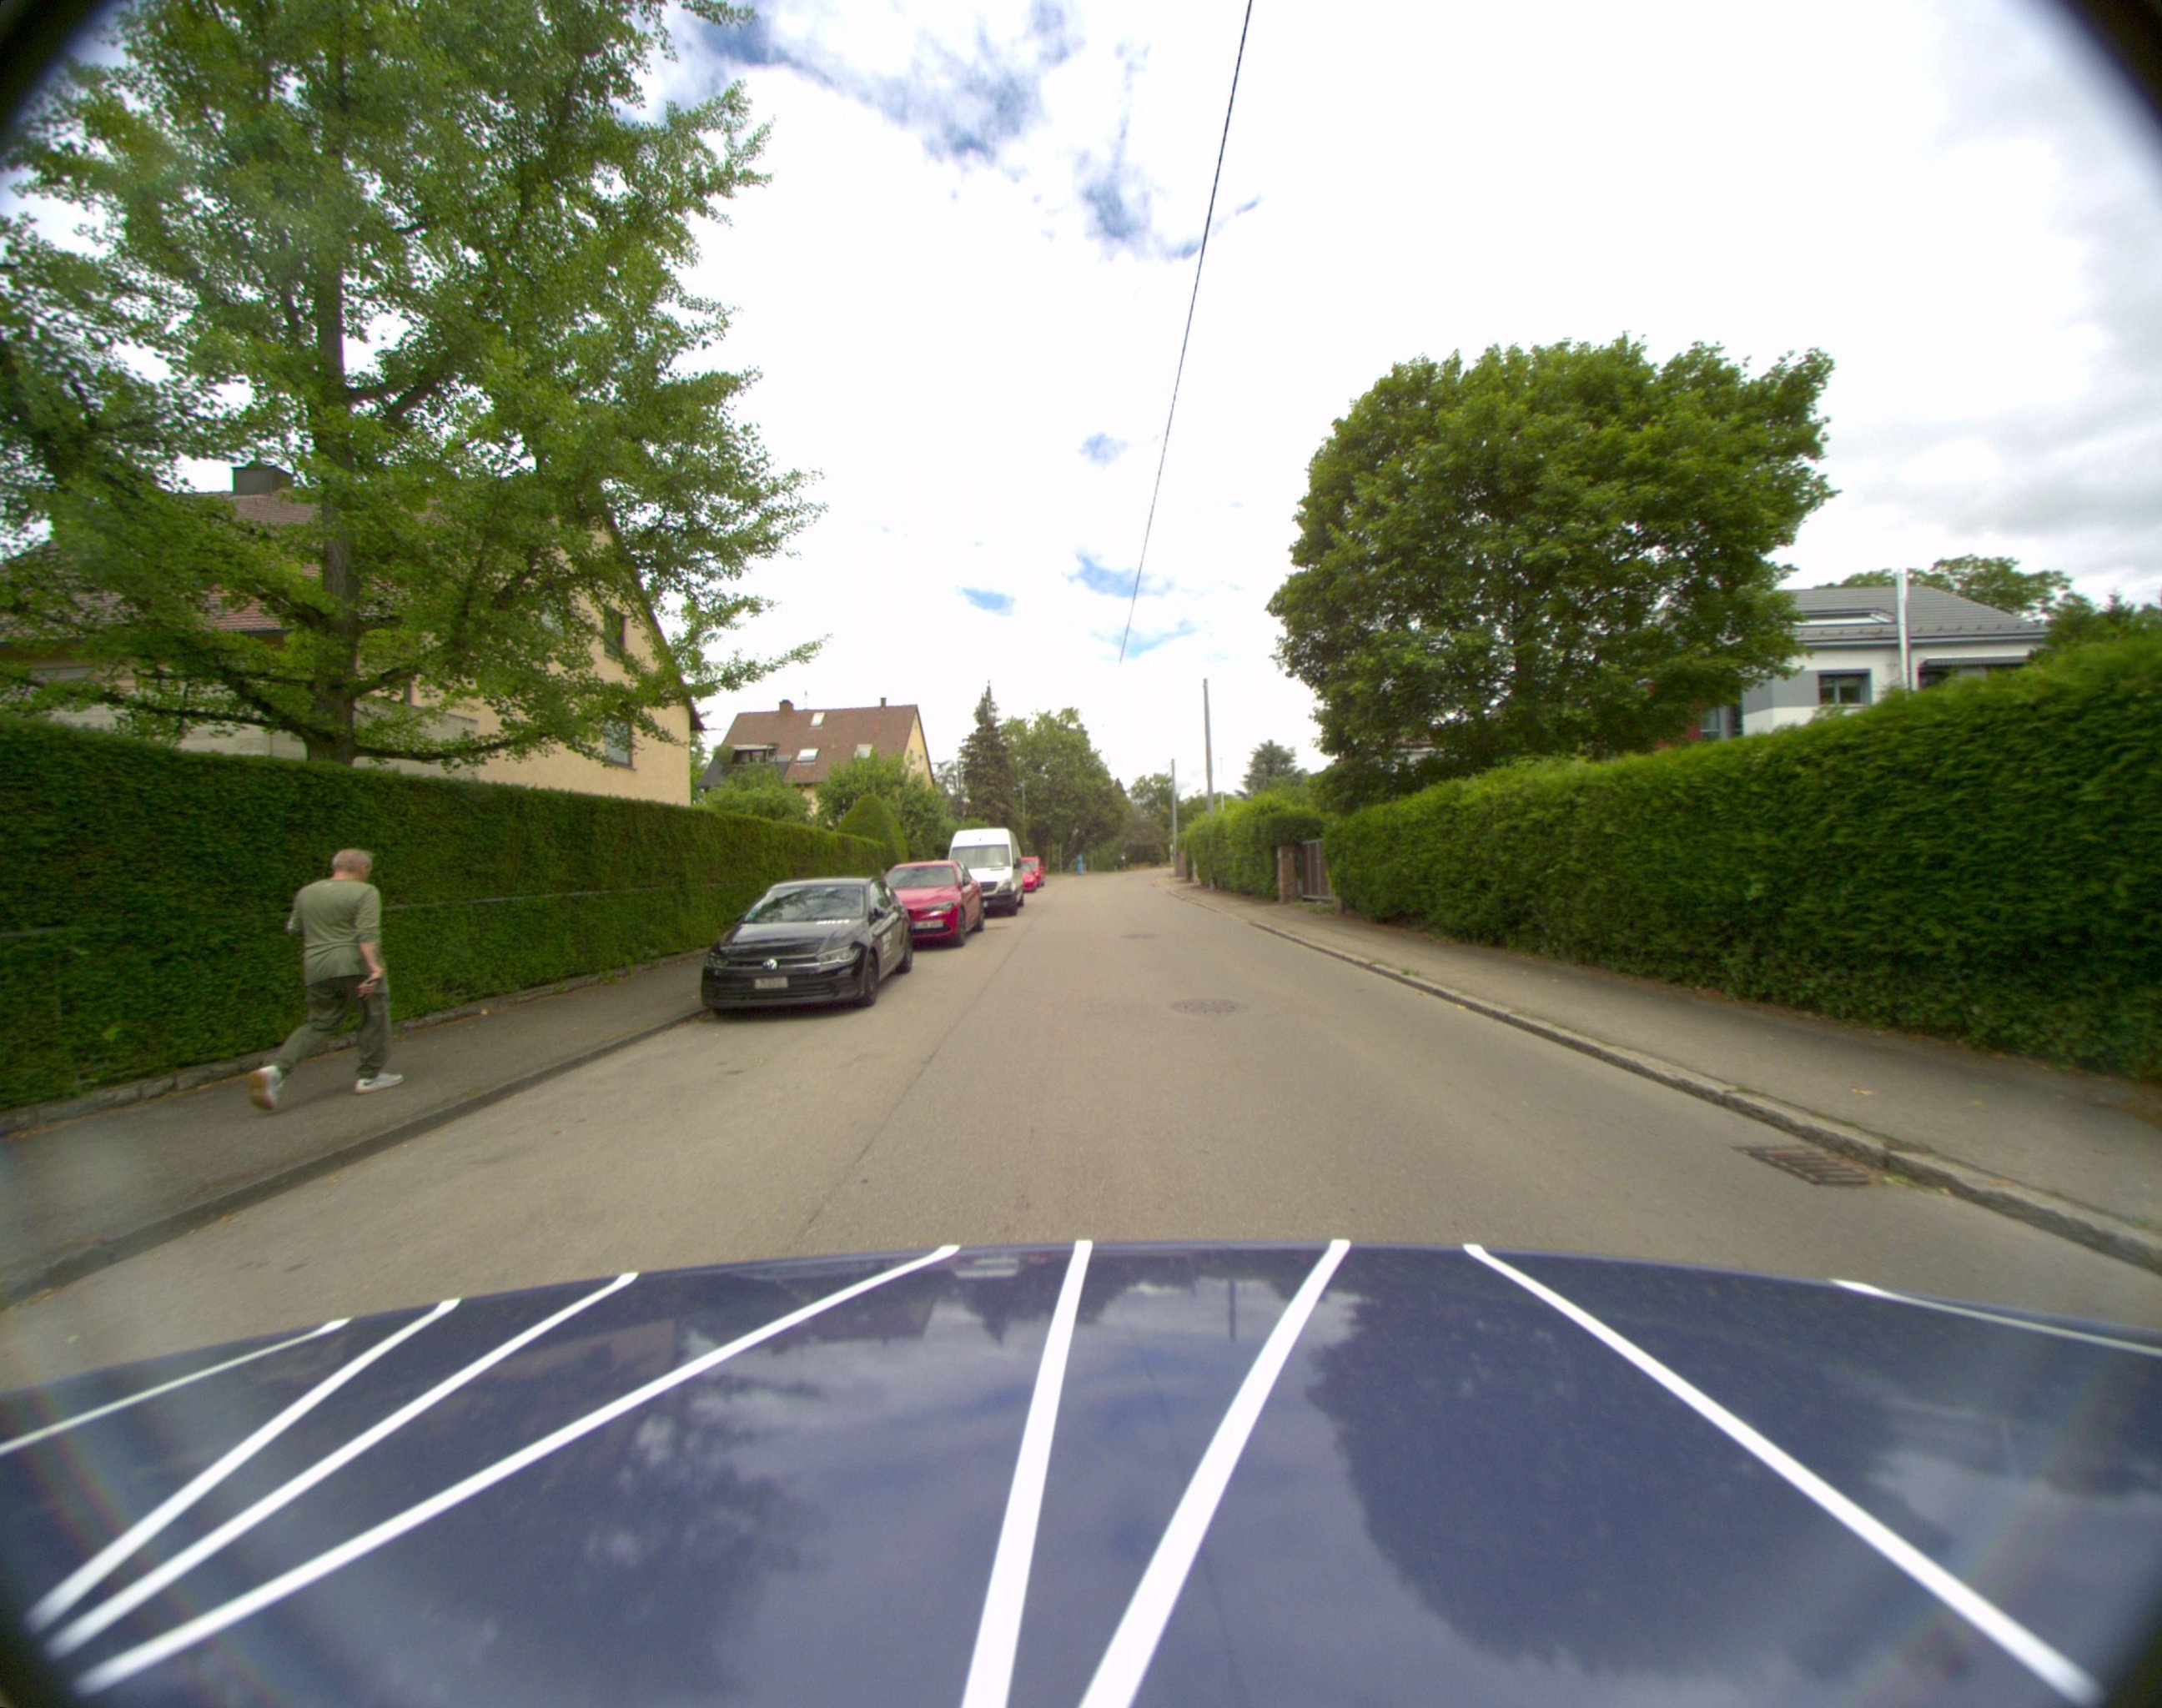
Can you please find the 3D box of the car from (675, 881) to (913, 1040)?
[{"bbox_3d":[-3.217,1.098,9.377,1.684,1.398,4.052,0,0,-5],"label":"car"}]

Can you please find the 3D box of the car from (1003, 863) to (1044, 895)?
[{"bbox_3d":[-2.832,1.206,38.157,1.704,1.421,4.395,-2,0,-1],"label":"car"}]

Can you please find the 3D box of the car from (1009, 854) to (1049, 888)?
[{"bbox_3d":[-2.950,0.945,43.908,1.771,1.755,4.162,-2,0,3],"label":"car"}]

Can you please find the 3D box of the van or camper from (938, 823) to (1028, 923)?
[{"bbox_3d":[-2.878,0.521,23.933,2.047,2.604,7.038,-3,0,-2],"label":"van or camper"}]

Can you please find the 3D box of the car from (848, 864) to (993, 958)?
[{"bbox_3d":[-3.057,1.020,15.518,1.893,1.572,4.765,0,0,1],"label":"car"}]

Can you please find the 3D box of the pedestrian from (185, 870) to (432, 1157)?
[{"bbox_3d":[-4.983,0.959,4.975,0.671,1.688,0.918,0,0,0],"label":"pedestrian"}]
